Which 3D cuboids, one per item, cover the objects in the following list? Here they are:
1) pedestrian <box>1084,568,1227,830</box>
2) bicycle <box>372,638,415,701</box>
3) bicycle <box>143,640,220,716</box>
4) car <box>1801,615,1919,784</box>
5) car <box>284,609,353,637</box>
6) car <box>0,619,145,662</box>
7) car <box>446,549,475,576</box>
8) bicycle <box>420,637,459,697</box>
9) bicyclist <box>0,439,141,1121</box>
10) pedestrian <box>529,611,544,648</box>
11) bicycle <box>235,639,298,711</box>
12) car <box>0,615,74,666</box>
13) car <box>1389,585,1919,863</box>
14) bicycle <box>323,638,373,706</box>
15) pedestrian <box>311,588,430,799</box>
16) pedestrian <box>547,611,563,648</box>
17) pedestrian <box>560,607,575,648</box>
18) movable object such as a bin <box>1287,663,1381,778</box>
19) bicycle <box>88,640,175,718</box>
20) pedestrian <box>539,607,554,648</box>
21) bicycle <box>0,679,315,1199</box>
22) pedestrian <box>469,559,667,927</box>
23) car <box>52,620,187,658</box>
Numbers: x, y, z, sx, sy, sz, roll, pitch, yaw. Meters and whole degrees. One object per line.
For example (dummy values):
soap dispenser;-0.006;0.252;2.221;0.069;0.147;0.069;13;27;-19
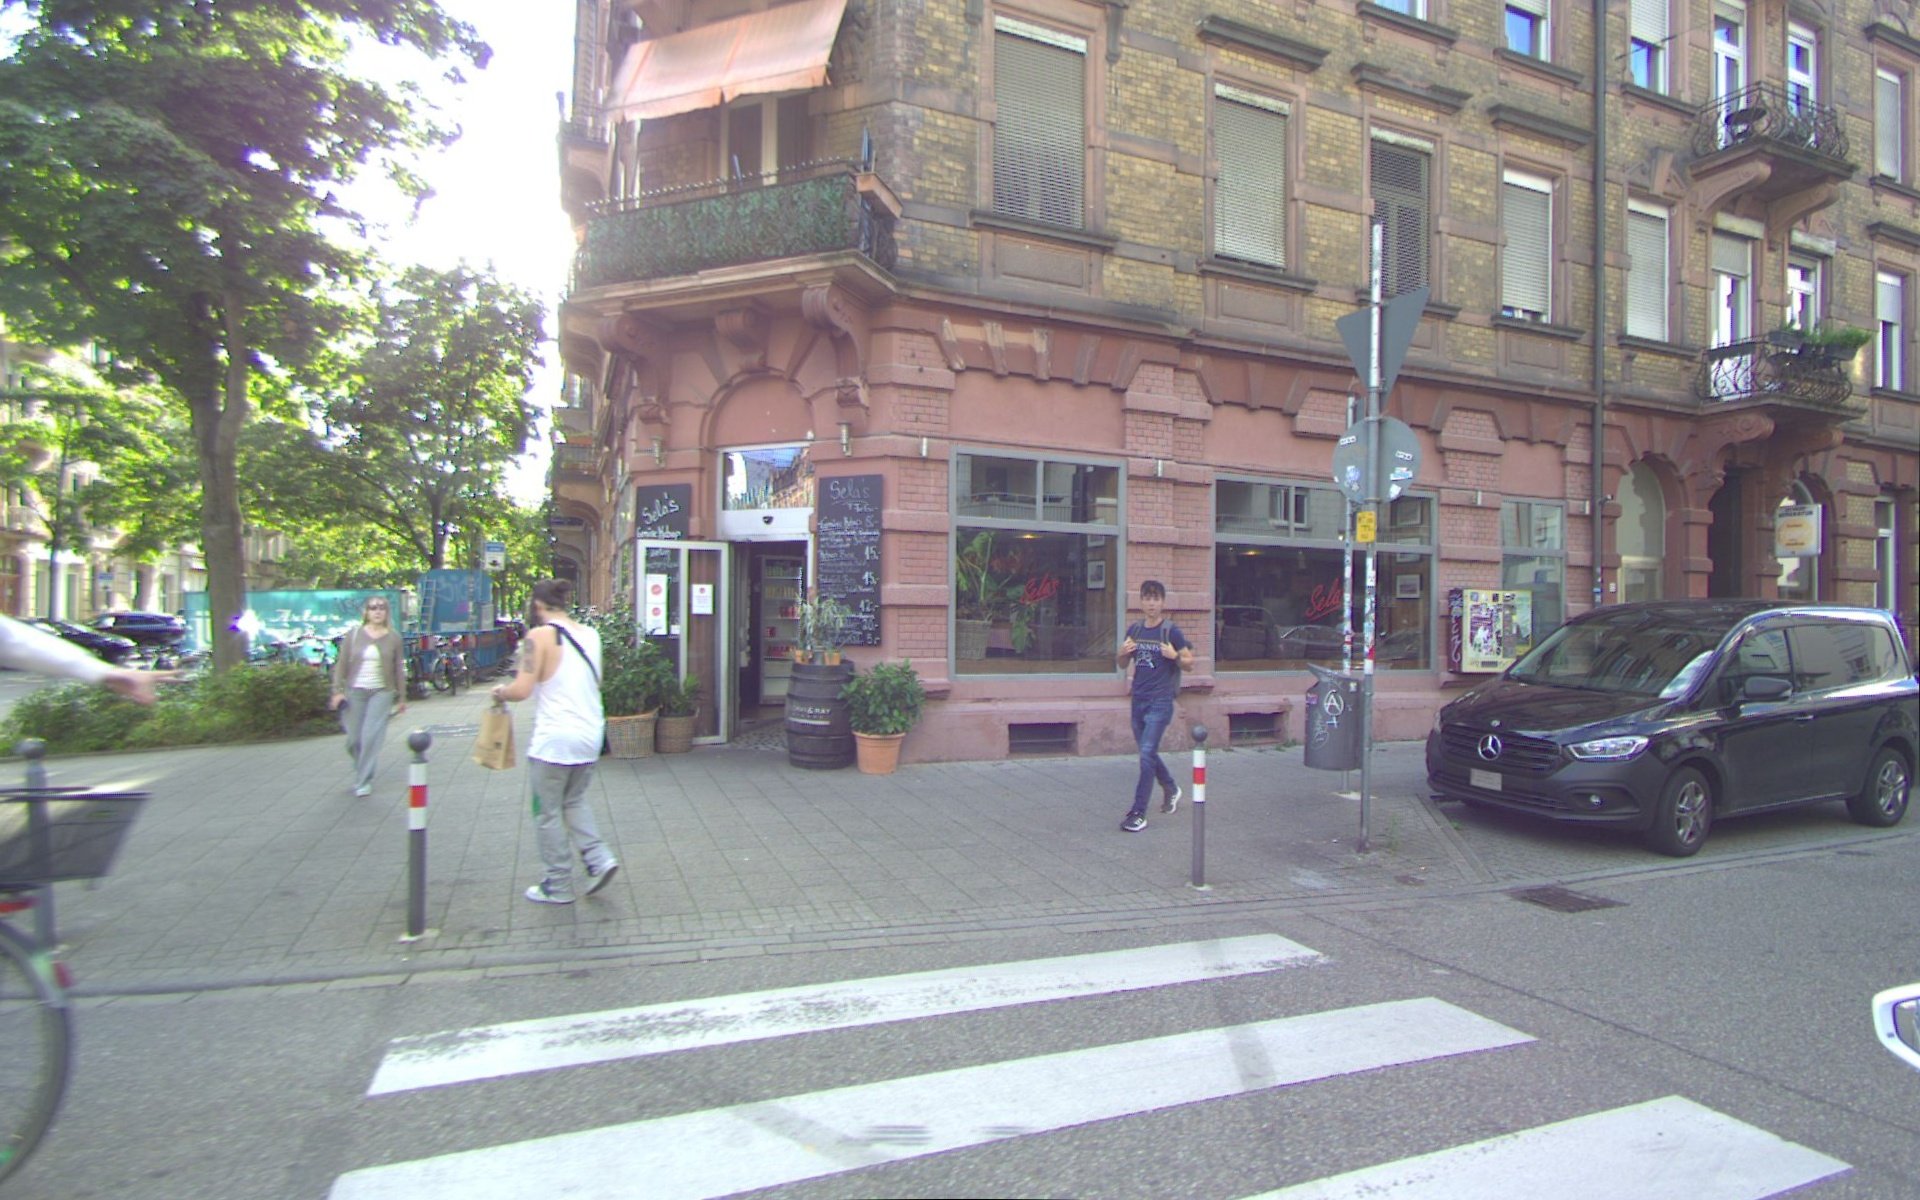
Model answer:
pedestrian;1.498;0.701;7.687;0.851;1.865;0.670;0;2;-43
bicycle;-9.987;1.193;17.743;0.584;0.981;2.062;-1;0;-28
bicycle;-12.057;1.174;15.607;0.584;1.043;2.062;-1;0;-28
car;11.353;1.027;10.787;4.087;1.660;1.988;1;-1;-24
car;-39.556;1.419;62.021;3.310;1.614;1.588;1;0;-21
car;-27.518;1.262;31.079;3.290;1.270;1.370;1;-2;-22
car;-40.699;-3.042;81.878;1.972;2.040;3.976;1;0;-24
bicycle;-9.603;1.197;18.517;0.584;0.981;2.062;-1;0;-28
bicyclist;-2.968;0.453;2.585;1.093;1.699;0.701;1;-2;-13
pedestrian;-19.585;1.360;46.457;0.532;1.685;0.587;1;-1;-12
bicycle;-11.244;1.183;16.331;0.584;1.025;2.062;-1;0;-28
car;-26.245;1.079;27.022;3.290;1.350;1.370;1;-2;-22
car;5.853;0.842;8.265;4.344;1.797;1.755;1;1;-24
bicycle;-10.370;1.189;17.072;0.584;1.025;2.062;-1;0;-28
pedestrian;-4.763;0.716;8.170;0.605;1.599;0.807;-2;1;-18
pedestrian;-18.808;1.351;46.613;0.560;1.705;0.624;1;-1;-12
pedestrian;-19.694;1.382;50.444;0.590;2.040;0.680;1;-1;-14
movable object such as a bin;2.565;0.811;6.888;0.470;0.724;0.381;1;0;-27
bicycle;-12.649;1.165;15.388;0.584;1.043;2.126;-1;0;-28
pedestrian;-20.497;1.371;49.819;0.590;2.040;0.680;1;-1;-14
bicycle;-2.974;0.840;2.568;2.080;1.236;0.701;1;-2;-13
pedestrian;-2.079;0.675;5.271;0.795;1.693;1.014;2;-1;-30
car;-29.184;1.351;34.992;3.290;1.270;1.370;1;-2;-22
